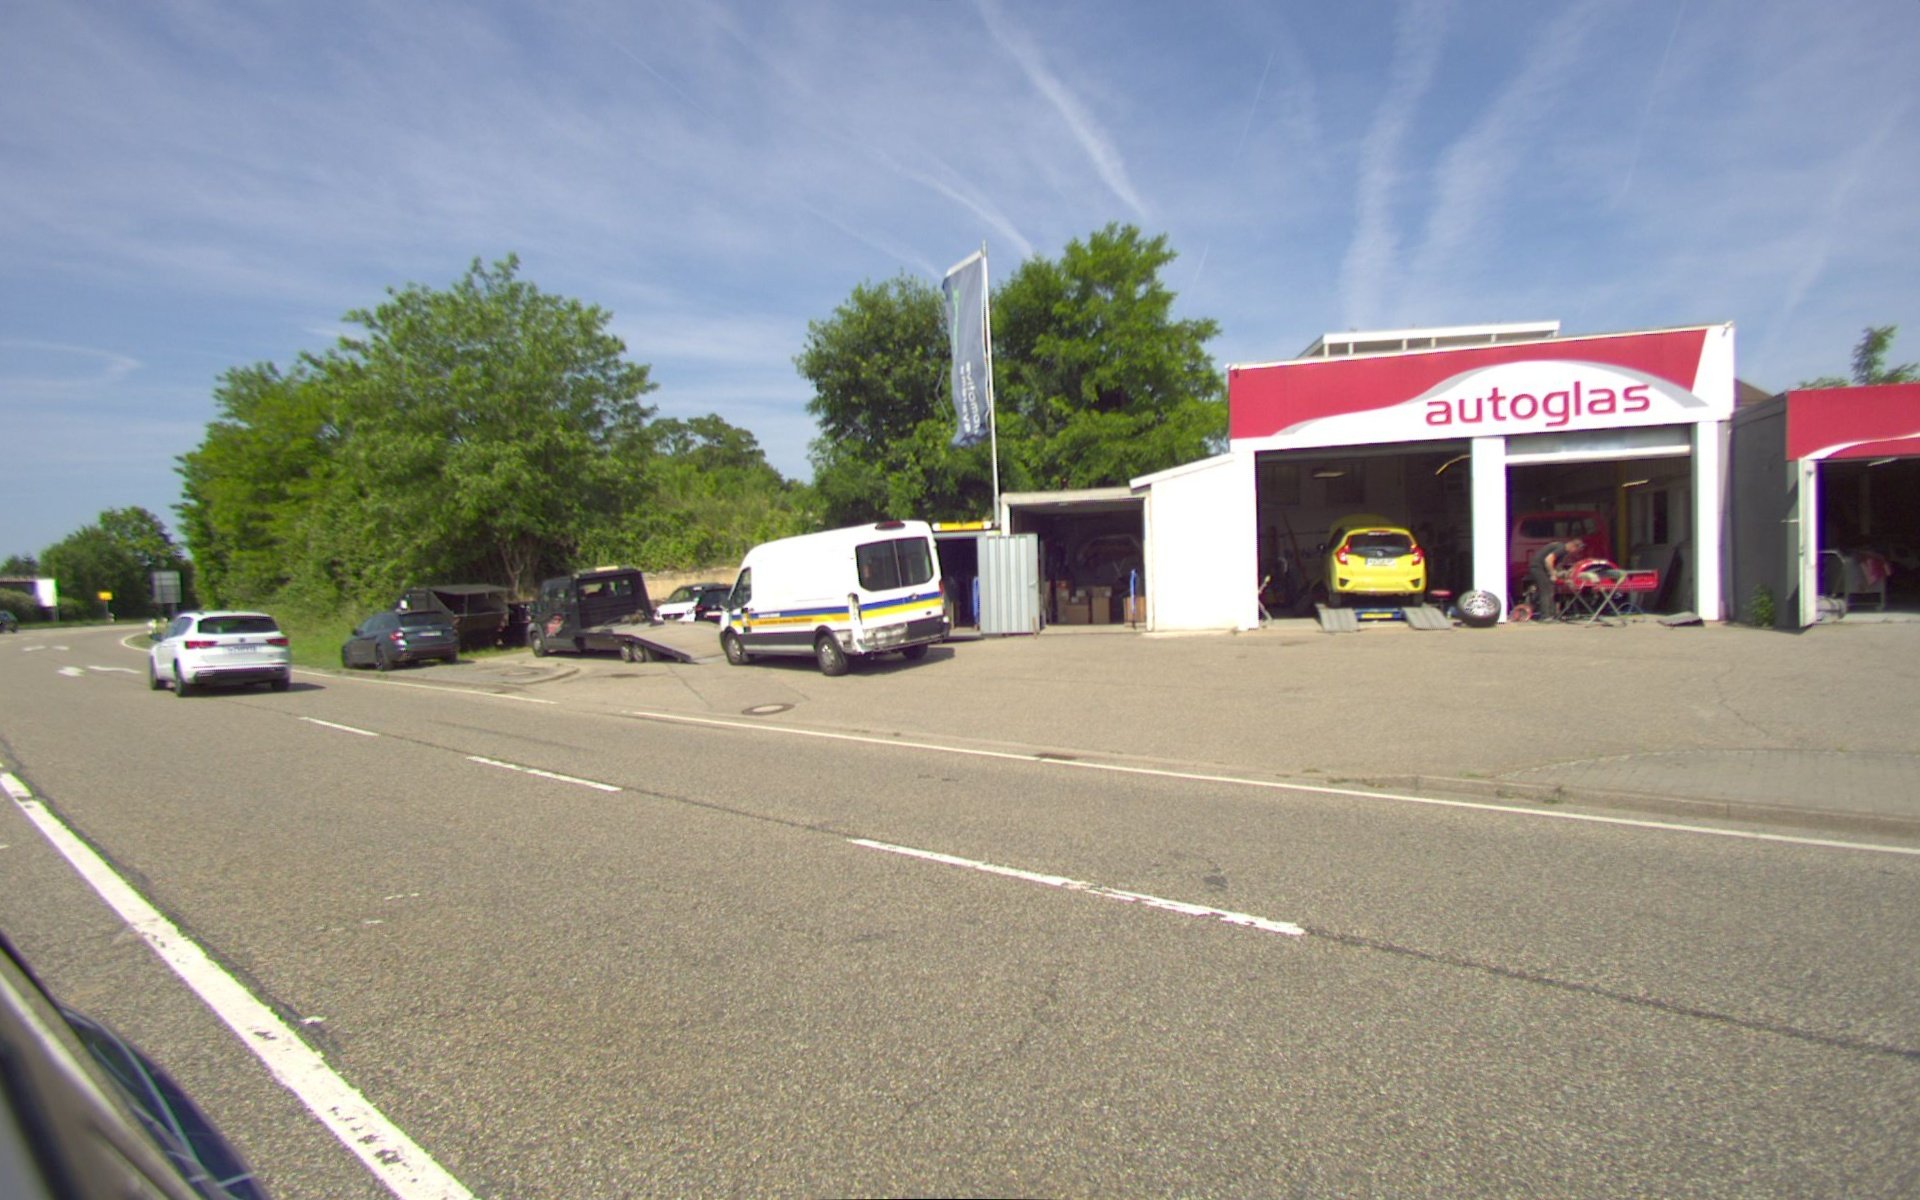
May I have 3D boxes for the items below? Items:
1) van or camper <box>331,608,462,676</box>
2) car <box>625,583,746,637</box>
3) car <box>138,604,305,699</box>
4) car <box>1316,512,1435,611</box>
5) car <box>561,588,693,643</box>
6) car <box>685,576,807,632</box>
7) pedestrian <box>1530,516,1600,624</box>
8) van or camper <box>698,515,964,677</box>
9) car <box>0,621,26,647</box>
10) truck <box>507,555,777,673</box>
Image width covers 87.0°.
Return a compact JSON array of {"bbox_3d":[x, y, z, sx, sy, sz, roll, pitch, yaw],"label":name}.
[{"bbox_3d":[-14.683,1.040,26.264,4.467,1.535,1.622,-1,2,43],"label":"van or camper"},{"bbox_3d":[-8.258,0.263,30.781,1.727,1.480,3.646,-2,1,21],"label":"car"},{"bbox_3d":[-14.718,0.952,20.094,3.999,1.687,1.915,-1,-1,42],"label":"car"},{"bbox_3d":[8.236,-0.823,20.355,1.724,1.737,3.654,-2,3,16],"label":"car"},{"bbox_3d":[-10.174,0.454,31.131,1.710,1.522,3.635,-2,1,29],"label":"car"},{"bbox_3d":[-6.065,0.084,29.105,1.727,1.480,3.646,-2,1,21],"label":"car"},{"bbox_3d":[10.271,-0.500,17.172,0.894,1.775,0.715,-1,1,41],"label":"pedestrian"},{"bbox_3d":[-2.678,-0.086,19.308,2.127,2.517,5.962,-6,3,-37],"label":"van or camper"},{"bbox_3d":[-64.591,2.340,67.320,1.837,1.653,4.435,-2,1,-16],"label":"car"},{"bbox_3d":[-8.180,0.335,25.120,8.805,2.313,2.306,-1,5,44],"label":"truck"}]
